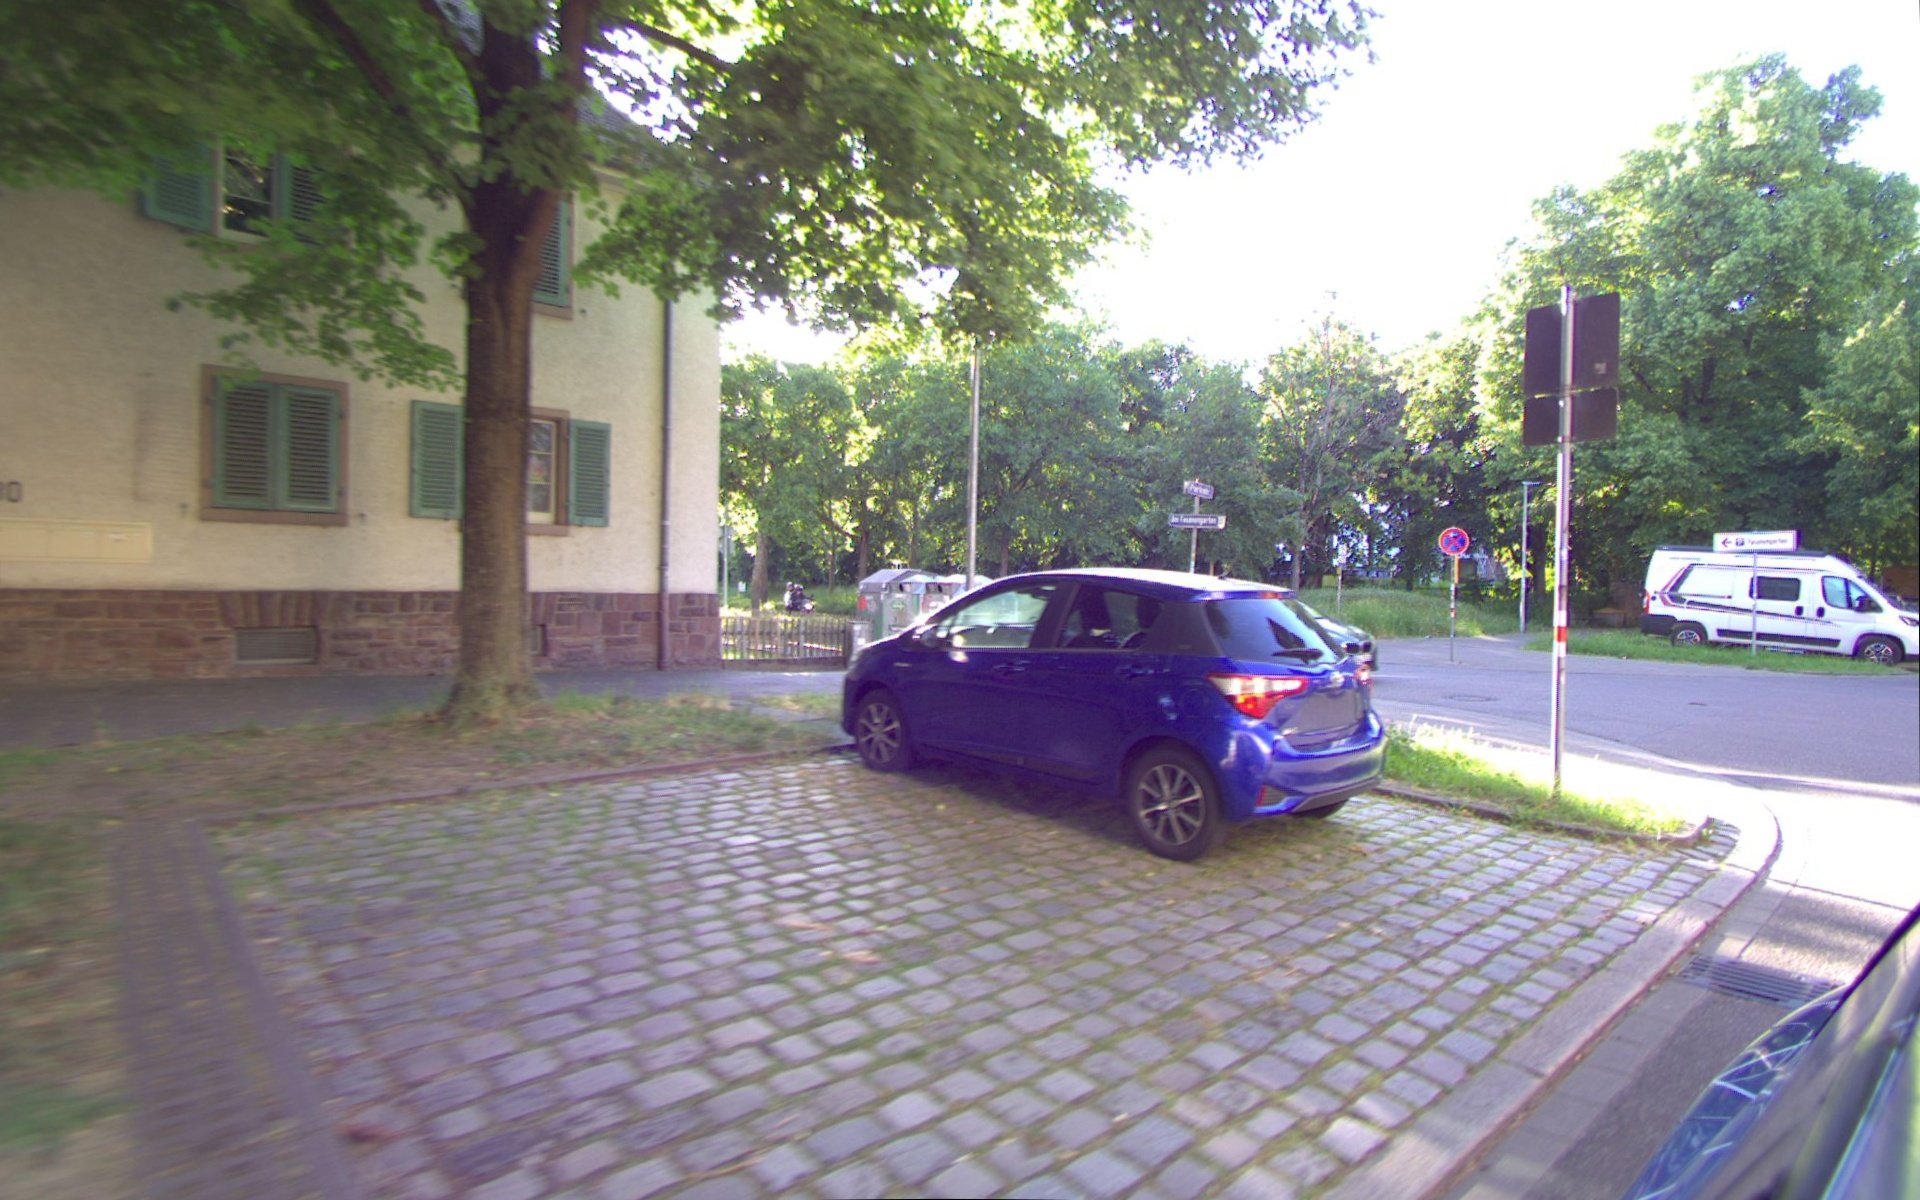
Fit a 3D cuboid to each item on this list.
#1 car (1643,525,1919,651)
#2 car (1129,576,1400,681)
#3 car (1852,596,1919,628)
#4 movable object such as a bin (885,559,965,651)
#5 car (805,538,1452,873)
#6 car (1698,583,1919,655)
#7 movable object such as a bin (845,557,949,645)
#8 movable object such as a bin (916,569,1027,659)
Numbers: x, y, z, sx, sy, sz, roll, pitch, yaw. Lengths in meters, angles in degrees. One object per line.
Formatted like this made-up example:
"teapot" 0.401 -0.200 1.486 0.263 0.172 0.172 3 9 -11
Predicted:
"car" 19.524 -0.321 23.601 2.201 2.646 5.620 -1 2 -42
"car" 5.423 0.402 18.622 1.855 1.642 4.619 -1 2 -36
"car" 40.581 0.529 42.974 1.755 1.272 3.873 -2 2 -43
"movable object such as a bin" -0.755 0.076 21.336 1.129 1.850 1.386 -1 2 -34
"car" 0.896 0.391 6.928 1.967 1.574 3.992 -2 4 -43
"car" 21.408 0.396 25.467 1.945 1.594 4.291 -1 2 -43
"movable object such as a bin" -1.402 -0.013 22.676 1.890 1.876 1.394 -1 2 -35
"movable object such as a bin" 0.207 0.224 20.118 1.561 1.678 1.640 -1 2 -35
